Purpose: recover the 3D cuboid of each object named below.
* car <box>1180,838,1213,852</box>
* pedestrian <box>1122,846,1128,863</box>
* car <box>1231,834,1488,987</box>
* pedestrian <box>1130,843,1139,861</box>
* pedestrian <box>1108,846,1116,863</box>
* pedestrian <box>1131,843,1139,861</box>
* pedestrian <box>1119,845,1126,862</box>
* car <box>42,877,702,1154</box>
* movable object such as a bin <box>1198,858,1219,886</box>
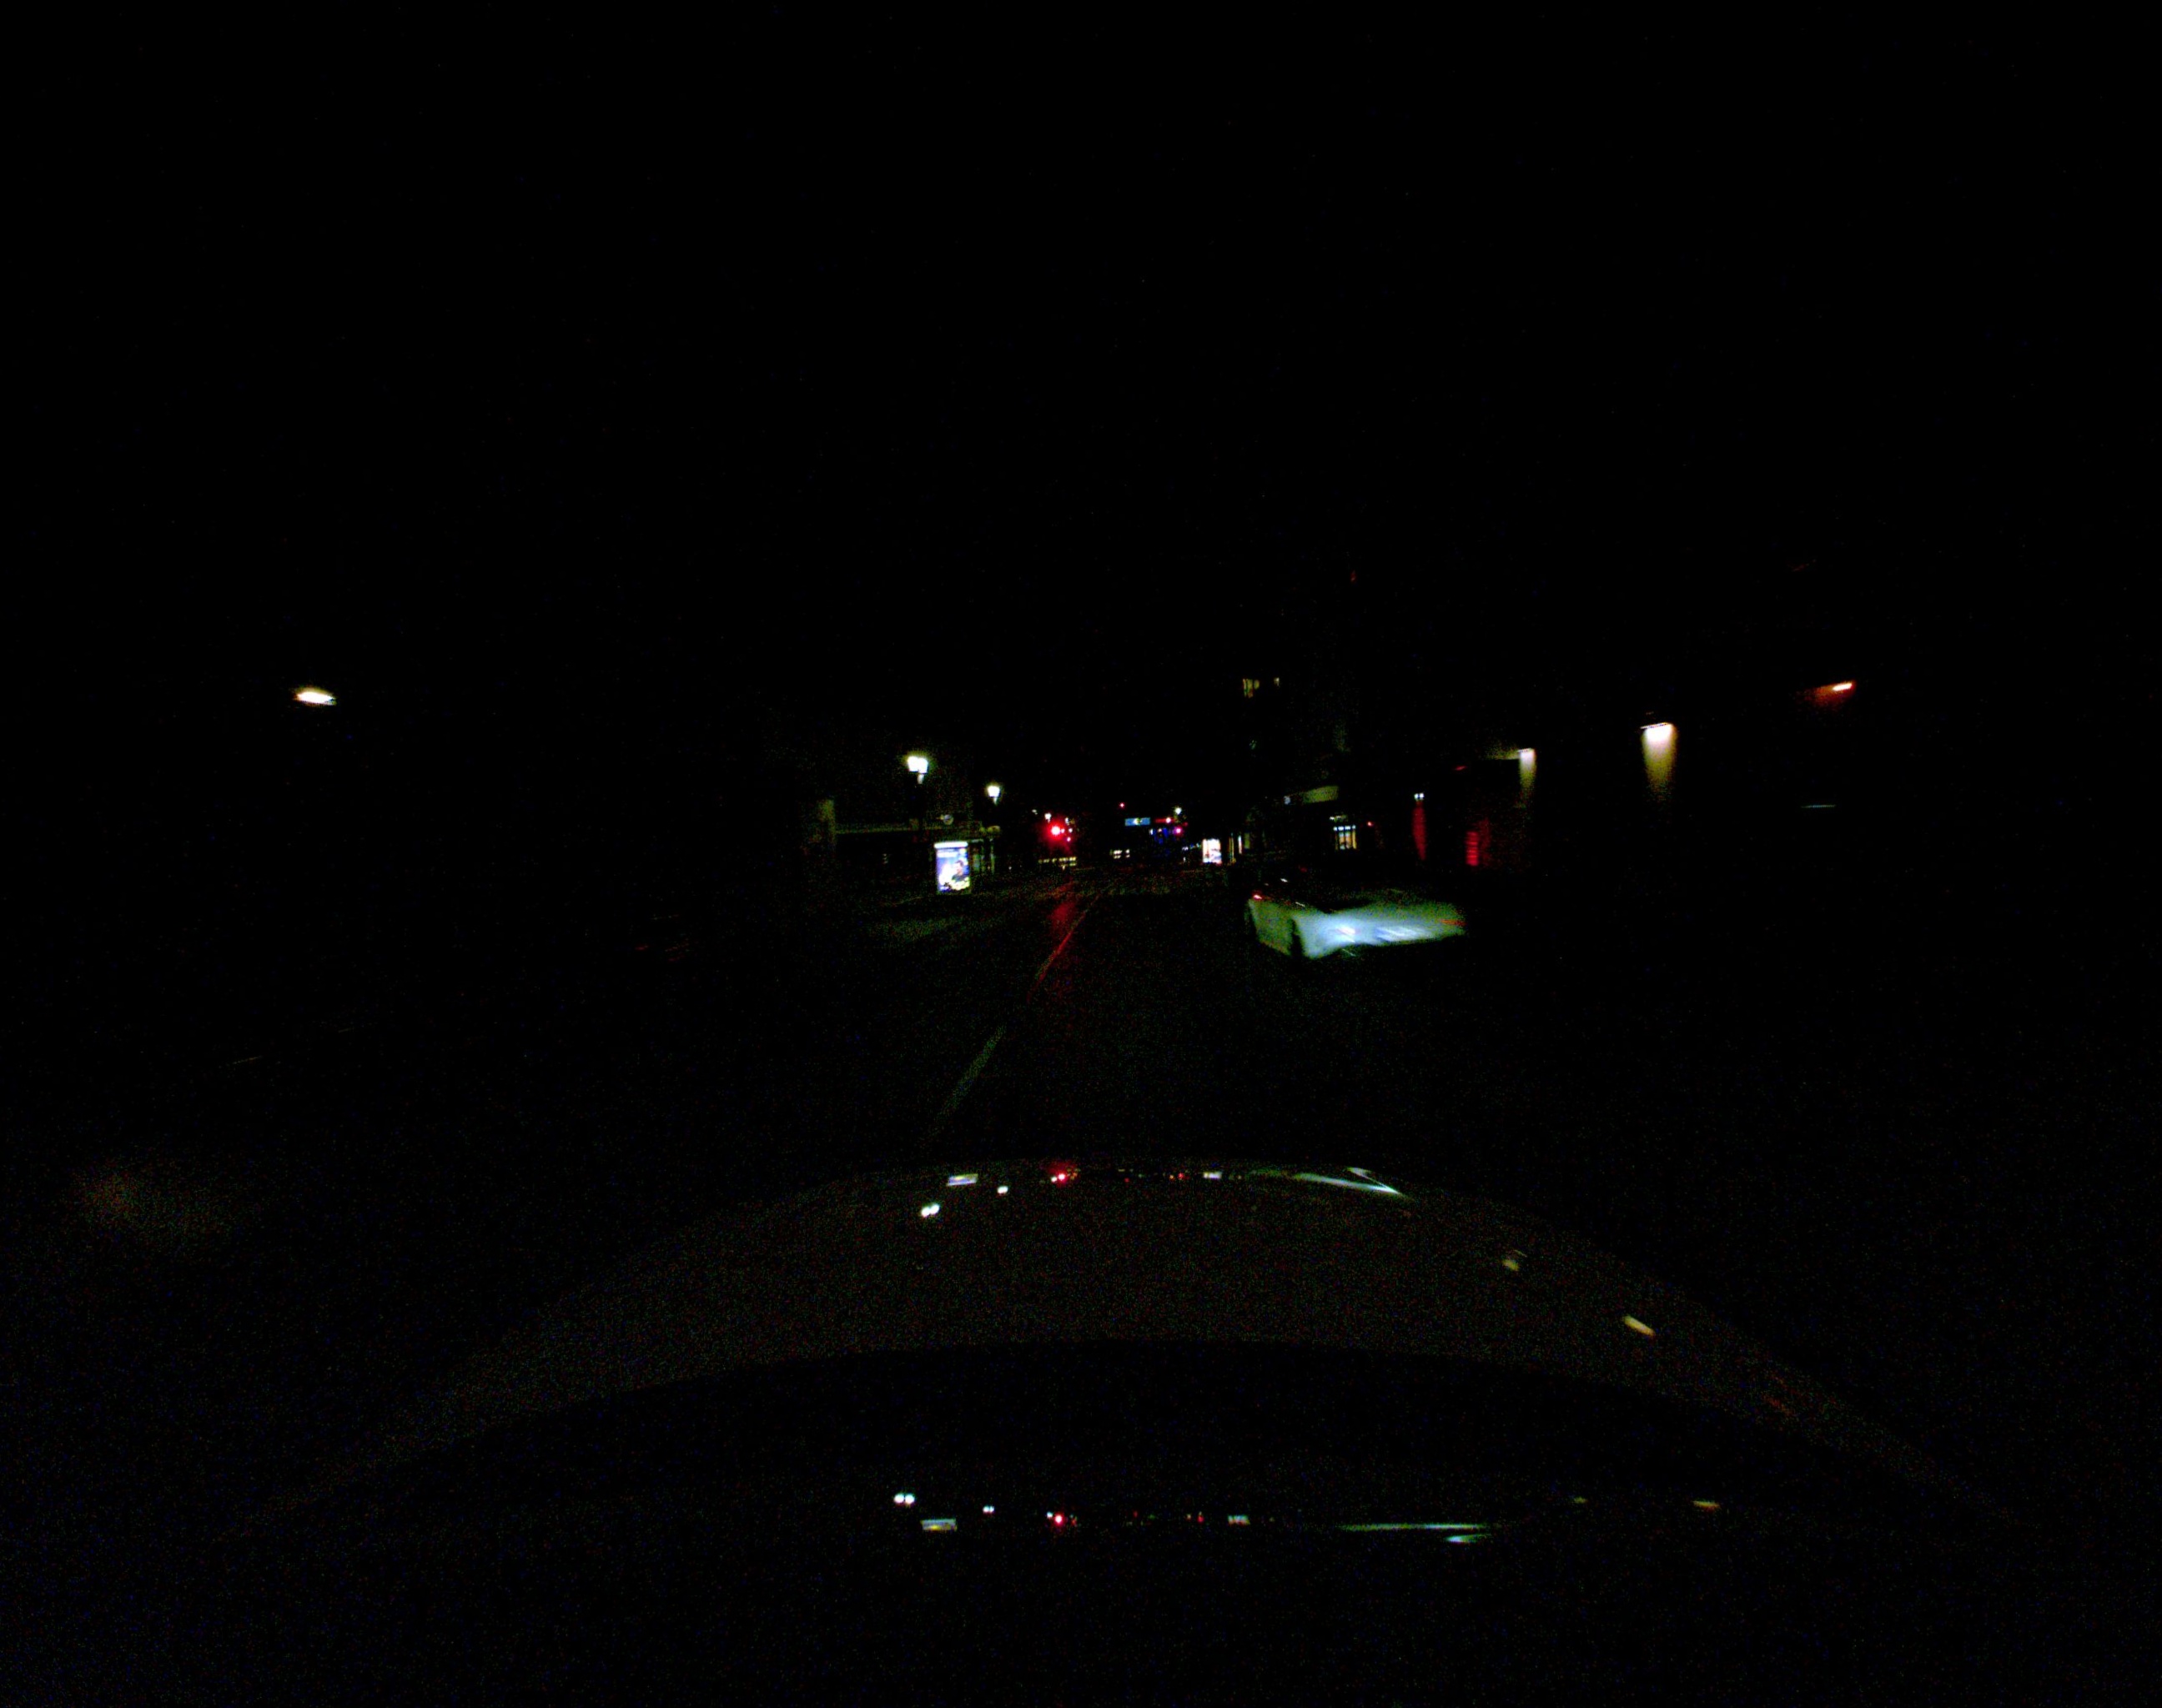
[{"bbox_3d":[14.888,-1.105,104.831,3.761,1.618,1.824,-2,-1,-17],"label":"car"},{"bbox_3d":[4.747,0.052,88.428,0.565,1.795,0.718,-2,-1,2],"label":"pedestrian"},{"bbox_3d":[3.317,0.585,10.751,1.850,1.442,4.596,-5,0,2],"label":"car"},{"bbox_3d":[5.635,-0.193,86.093,0.571,1.795,0.711,-1,-2,-32],"label":"pedestrian"},{"bbox_3d":[3.244,0.075,85.317,0.711,1.795,0.571,-2,-1,12],"label":"pedestrian"},{"bbox_3d":[5.646,-0.222,85.185,0.731,1.795,0.719,-2,-1,6],"label":"pedestrian"},{"bbox_3d":[4.415,-0.037,86.458,0.566,1.795,0.717,-2,-1,-2],"label":"pedestrian"},{"bbox_3d":[-5.074,0.999,6.771,1.684,1.436,4.131,-1,0,3],"label":"car"},{"bbox_3d":[4.401,0.604,28.102,0.523,0.937,0.628,-2,-1,-6],"label":"movable object such as a bin"}]
